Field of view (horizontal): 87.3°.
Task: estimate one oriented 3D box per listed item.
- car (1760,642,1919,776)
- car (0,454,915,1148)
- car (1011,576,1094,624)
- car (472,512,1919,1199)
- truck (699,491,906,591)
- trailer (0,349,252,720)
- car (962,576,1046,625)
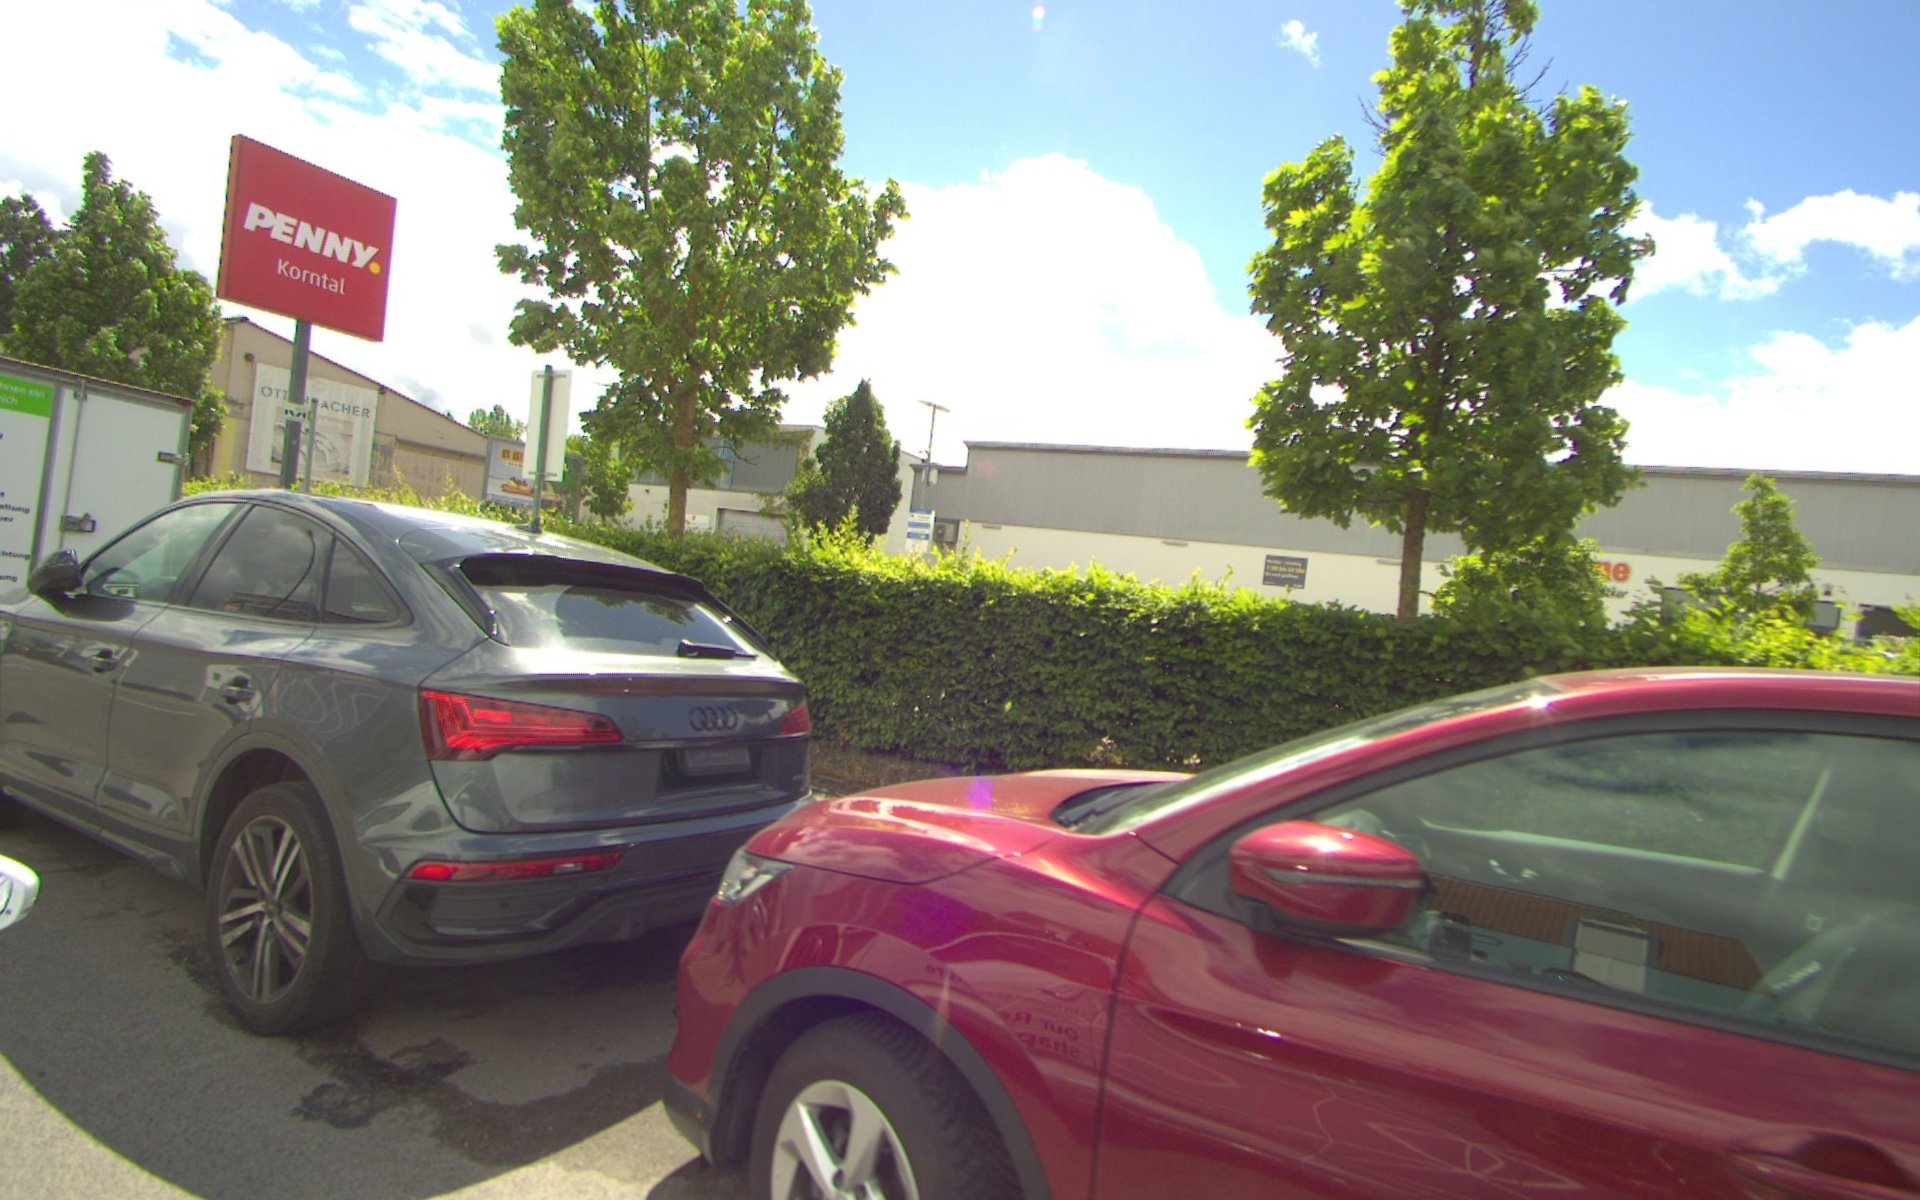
[{"bbox_3d":[14.478,1.802,15.979,1.966,1.725,3.998,7,-2,30],"label":"car"},{"bbox_3d":[-2.625,0.370,4.361,4.370,1.591,1.944,7,1,30],"label":"car"},{"bbox_3d":[3.929,0.031,42.252,1.789,1.526,3.992,7,0,31],"label":"car"},{"bbox_3d":[1.206,0.862,2.072,4.374,1.591,1.942,7,1,34],"label":"car"},{"bbox_3d":[-7.519,-2.751,50.830,2.930,2.896,12.006,7,-3,32],"label":"truck"},{"bbox_3d":[-7.719,-0.586,7.744,4.370,2.323,1.944,7,1,30],"label":"trailer"},{"bbox_3d":[1.950,0.054,43.369,1.789,1.643,3.992,7,0,31],"label":"car"}]
